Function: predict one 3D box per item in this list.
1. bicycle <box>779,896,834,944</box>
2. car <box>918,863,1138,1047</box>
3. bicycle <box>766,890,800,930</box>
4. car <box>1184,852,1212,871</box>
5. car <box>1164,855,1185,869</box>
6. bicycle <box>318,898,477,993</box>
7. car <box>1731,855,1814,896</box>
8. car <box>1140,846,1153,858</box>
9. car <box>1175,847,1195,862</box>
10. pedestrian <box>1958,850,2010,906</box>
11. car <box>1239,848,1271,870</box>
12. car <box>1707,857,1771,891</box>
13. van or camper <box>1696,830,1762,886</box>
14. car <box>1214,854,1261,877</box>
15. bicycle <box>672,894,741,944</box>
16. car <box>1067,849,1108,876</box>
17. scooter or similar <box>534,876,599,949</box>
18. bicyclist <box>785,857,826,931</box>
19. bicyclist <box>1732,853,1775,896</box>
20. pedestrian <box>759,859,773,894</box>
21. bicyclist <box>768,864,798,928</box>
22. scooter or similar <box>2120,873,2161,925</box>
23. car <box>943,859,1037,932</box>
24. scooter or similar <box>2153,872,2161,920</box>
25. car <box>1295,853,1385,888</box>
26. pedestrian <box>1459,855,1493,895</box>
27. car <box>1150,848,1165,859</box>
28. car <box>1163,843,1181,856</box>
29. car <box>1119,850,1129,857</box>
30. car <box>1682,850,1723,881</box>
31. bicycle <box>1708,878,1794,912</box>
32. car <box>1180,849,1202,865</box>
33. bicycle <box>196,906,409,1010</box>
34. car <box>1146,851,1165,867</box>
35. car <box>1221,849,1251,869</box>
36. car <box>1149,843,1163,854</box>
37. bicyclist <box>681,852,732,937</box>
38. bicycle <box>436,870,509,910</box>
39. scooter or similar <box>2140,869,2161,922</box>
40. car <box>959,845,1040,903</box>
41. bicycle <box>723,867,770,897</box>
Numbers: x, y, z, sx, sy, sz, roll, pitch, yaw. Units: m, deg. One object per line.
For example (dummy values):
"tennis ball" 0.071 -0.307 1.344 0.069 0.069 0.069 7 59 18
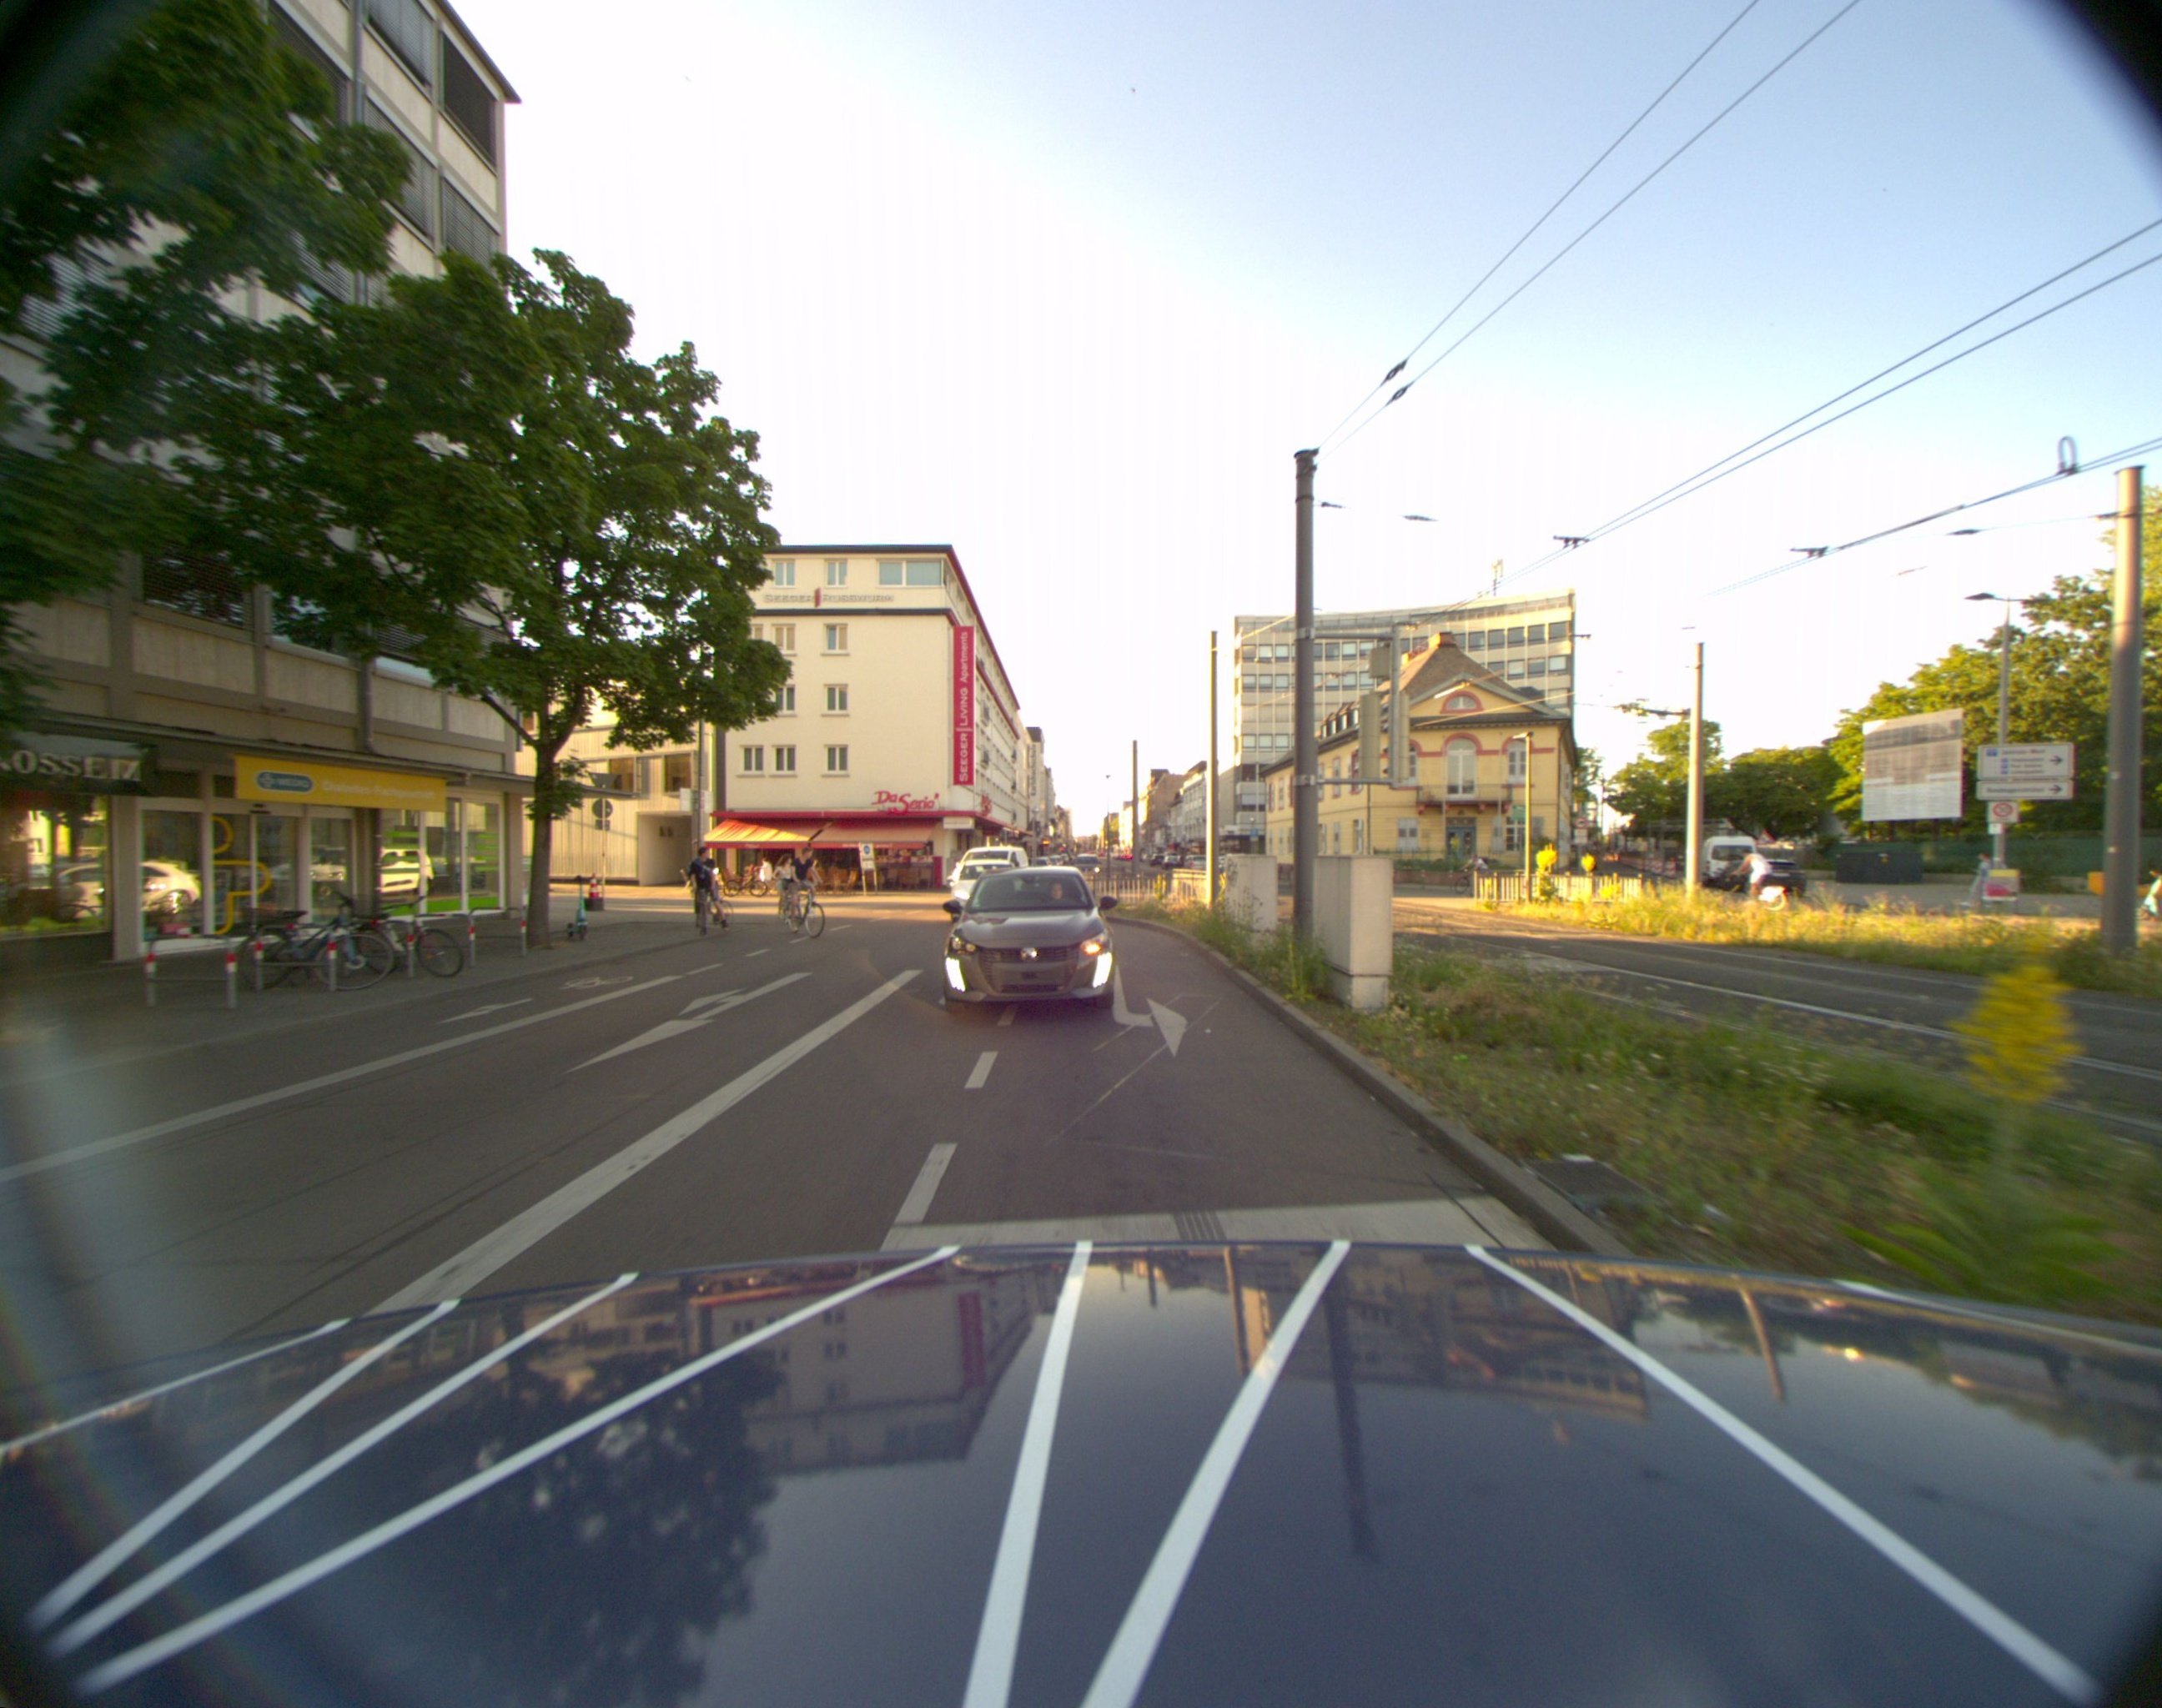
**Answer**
"bicycle" -5.691 1.342 15.706 0.616 0.820 1.800 -1 1 -35
"car" -0.642 0.907 9.003 1.917 1.495 4.700 0 0 -5
"bicycle" -7.184 1.314 18.306 0.601 0.820 1.736 0 1 -27
"car" 10.251 0.633 66.833 1.838 1.589 4.072 0 0 1
"car" 9.949 0.863 81.107 2.017 1.420 4.657 0 1 5
"bicycle" -9.061 1.202 10.103 1.636 1.178 0.538 1 1 0
"car" 28.349 0.830 31.284 1.779 1.534 4.299 1 1 33
"car" 12.851 -0.341 148.711 1.999 2.362 3.999 0 -1 -3
"car" 13.950 0.049 102.007 1.999 1.936 3.998 0 0 -3
"pedestrian" 28.958 0.750 24.392 0.876 1.714 0.831 2 2 38
"car" 14.085 0.374 61.611 1.736 1.698 3.438 0 0 -1
"car" 30.604 0.874 35.473 1.729 1.421 4.483 1 1 34
"van or camper" 34.210 0.195 40.281 2.078 2.758 6.463 1 1 36
"car" 10.310 0.717 50.368 1.915 1.402 4.336 0 0 -4
"bicycle" -7.814 1.336 15.921 0.675 0.896 1.689 0 1 -3
"car" 0.465 0.519 48.222 1.997 1.565 4.305 0 1 9
"scooter or similar" -9.820 1.092 14.504 1.277 1.314 0.516 0 1 30
"bicyclist" -5.695 0.809 15.699 0.615 1.478 0.716 -1 1 -35
"bicyclist" 19.938 0.590 22.540 0.669 1.250 0.727 0 1 -24
"pedestrian" -13.375 0.955 32.248 0.509 1.441 0.506 -1 1 -27
"bicyclist" -7.195 1.001 18.339 0.589 1.478 0.716 0 1 -26
"scooter or similar" 27.295 1.148 18.905 1.521 1.253 0.613 4 4 42
"car" -2.116 0.925 18.871 1.815 1.441 4.561 0 2 0
"scooter or similar" 26.731 1.025 18.039 1.400 1.159 0.462 1 1 42
"car" 12.629 0.764 37.365 2.001 1.508 4.408 -3 1 -16
"pedestrian" 15.468 0.805 29.760 1.041 1.494 1.007 0 1 37
"car" 13.682 -0.158 135.671 1.999 1.936 3.999 0 0 -3
"car" 13.868 -0.622 115.834 1.999 1.936 3.998 0 1 -3
"car" 9.631 -0.149 171.139 1.849 1.499 3.998 0 0 -4
"car" 39.615 0.682 48.500 1.713 1.838 4.030 1 1 35
"bicycle" 19.909 1.191 22.627 0.681 0.887 1.793 0 1 -25
"car" 13.476 0.356 93.300 1.999 1.936 3.999 0 0 -3
"bicycle" -9.296 1.225 9.129 1.745 1.133 0.666 1 1 -7
"car" 9.740 0.635 99.595 1.999 1.979 4.118 0 1 -1
"car" 13.620 0.396 66.897 1.736 1.698 3.805 0 0 -2
"car" 14.139 -1.085 143.069 1.999 2.002 3.998 -2 1 -4
"bicyclist" -7.815 0.829 15.890 0.666 1.717 0.810 0 1 -3
"bicycle" -18.673 1.096 23.373 0.538 1.179 1.721 0 -2 17
"scooter or similar" 27.080 1.023 18.369 1.648 1.285 0.462 0 1 42
"car" -2.738 0.664 26.597 1.999 1.827 4.877 0 0 4
"bicycle" -13.559 1.126 30.794 1.632 1.160 0.600 0 3 5
